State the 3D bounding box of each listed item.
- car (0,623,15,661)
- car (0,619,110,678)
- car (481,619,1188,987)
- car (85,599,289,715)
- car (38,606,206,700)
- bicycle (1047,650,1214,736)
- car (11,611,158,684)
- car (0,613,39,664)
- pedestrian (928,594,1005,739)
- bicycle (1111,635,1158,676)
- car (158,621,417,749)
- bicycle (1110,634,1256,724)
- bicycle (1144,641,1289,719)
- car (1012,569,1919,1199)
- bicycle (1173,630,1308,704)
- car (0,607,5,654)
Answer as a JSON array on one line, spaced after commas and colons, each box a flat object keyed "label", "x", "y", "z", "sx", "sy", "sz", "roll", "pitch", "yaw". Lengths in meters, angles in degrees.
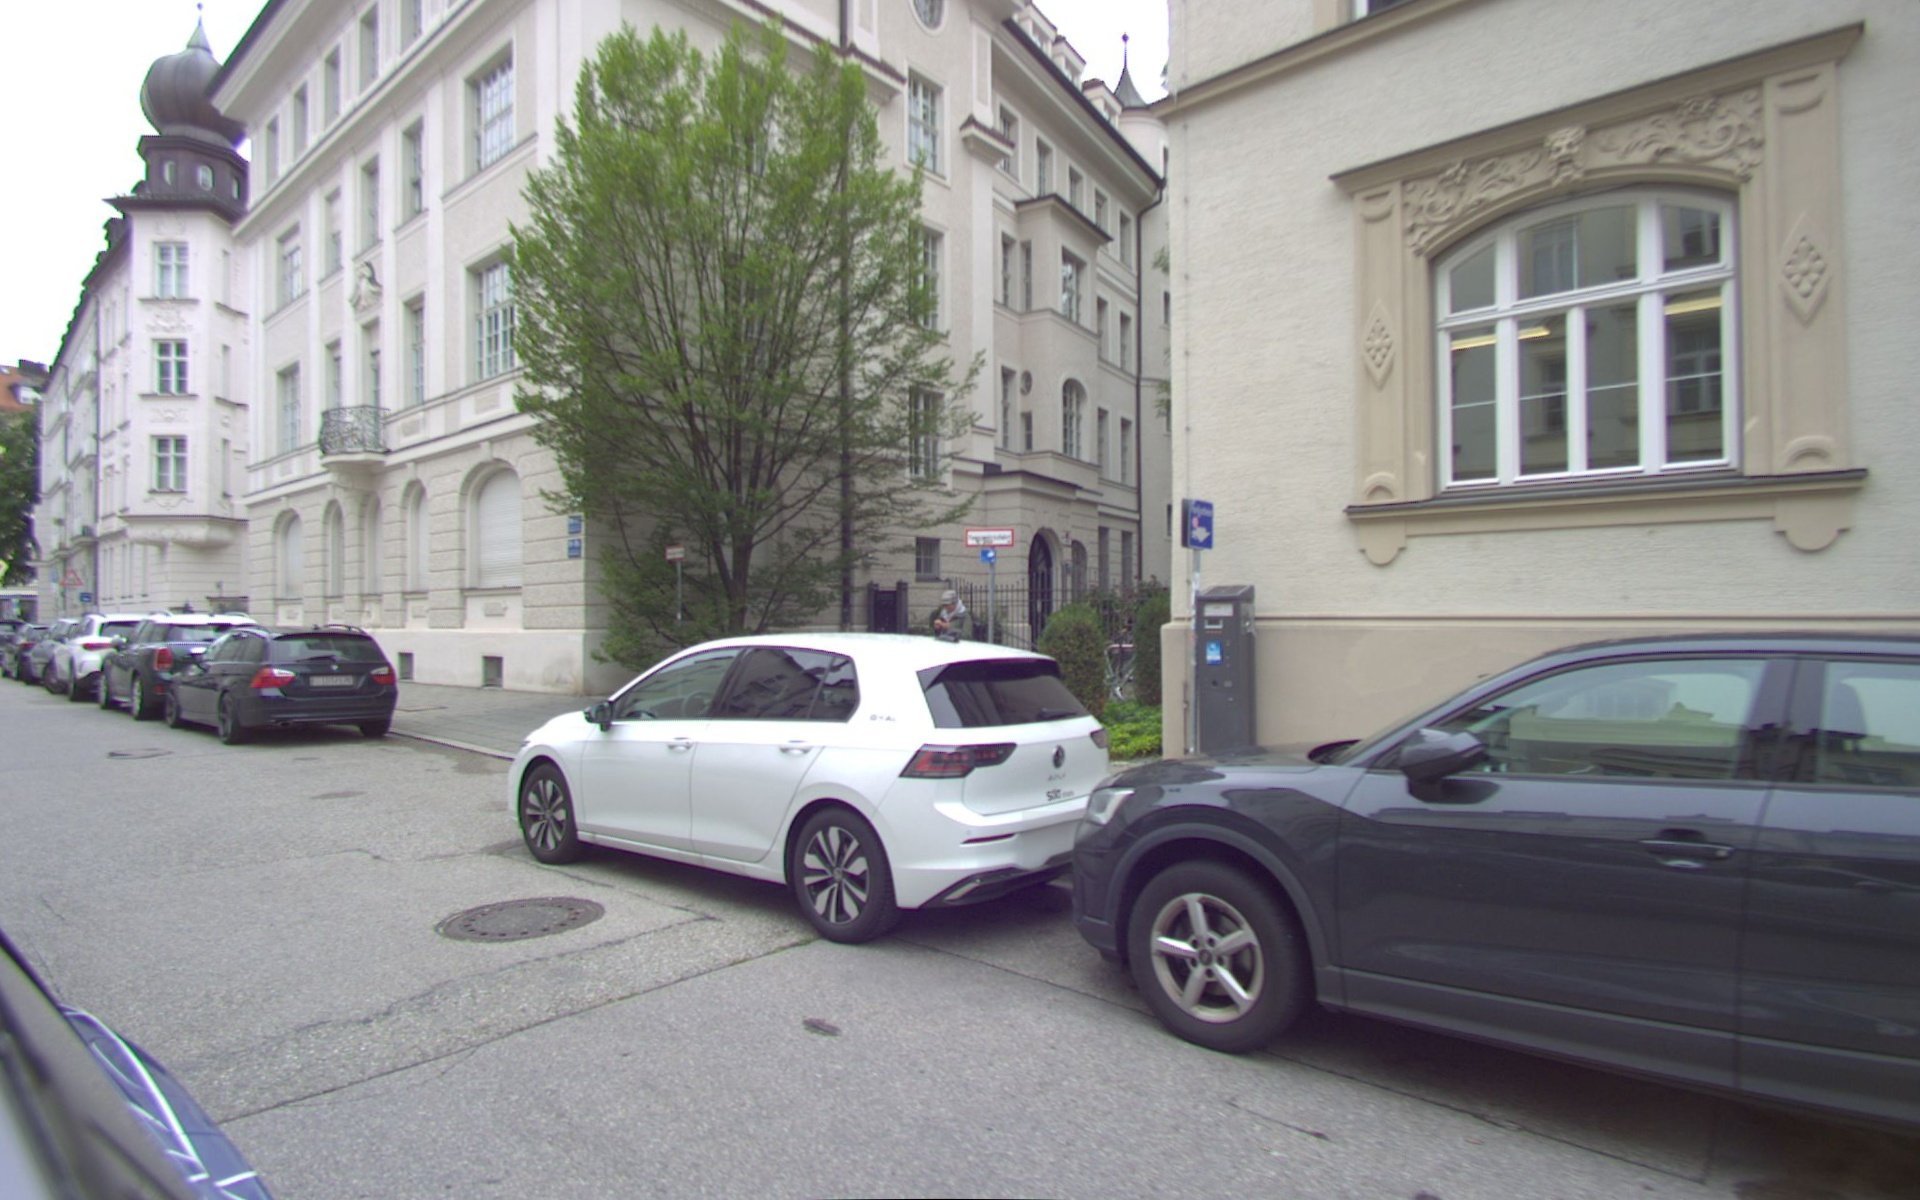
[{"label": "car", "x": -37.213, "y": 1.577, "z": 38.263, "sx": 4.244, "sy": 1.405, "sz": 1.816, "roll": -2, "pitch": -4, "yaw": 43}, {"label": "car", "x": -23.932, "y": 1.269, "z": 26.598, "sx": 4.277, "sy": 1.426, "sz": 1.773, "roll": -1, "pitch": -4, "yaw": 41}, {"label": "car", "x": -0.979, "y": 0.894, "z": 6.085, "sx": 4.241, "sy": 1.445, "sz": 1.818, "roll": -2, "pitch": -4, "yaw": 40}, {"label": "car", "x": -12.566, "y": 0.873, "z": 16.362, "sx": 4.242, "sy": 1.631, "sz": 1.817, "roll": -2, "pitch": -2, "yaw": 41}, {"label": "car", "x": -16.527, "y": 0.991, "z": 19.876, "sx": 4.570, "sy": 1.631, "sz": 1.894, "roll": -2, "pitch": -2, "yaw": 42}, {"label": "bicycle", "x": 2.139, "y": 1.187, "z": 12.907, "sx": 2.009, "sy": 0.967, "sz": 0.686, "roll": -6, "pitch": -2, "yaw": 44}, {"label": "car", "x": -20.390, "y": 1.096, "z": 23.524, "sx": 4.252, "sy": 1.553, "sz": 1.765, "roll": -1, "pitch": -4, "yaw": 38}, {"label": "car", "x": -32.449, "y": 1.276, "z": 33.925, "sx": 4.118, "sy": 1.631, "sz": 1.709, "roll": -1, "pitch": -4, "yaw": 40}, {"label": "pedestrian", "x": 0.079, "y": 0.759, "z": 11.902, "sx": 0.630, "sy": 1.638, "sz": 0.666, "roll": -2, "pitch": -2, "yaw": 38}, {"label": "bicycle", "x": 4.437, "y": 1.393, "z": 25.634, "sx": 0.475, "sy": 1.000, "sz": 1.420, "roll": -2, "pitch": -2, "yaw": 43}, {"label": "car", "x": -9.011, "y": 1.023, "z": 13.417, "sx": 4.365, "sy": 1.423, "sz": 1.768, "roll": -2, "pitch": -2, "yaw": 41}, {"label": "bicycle", "x": 2.990, "y": 1.082, "z": 13.712, "sx": 1.819, "sy": 1.101, "sz": 0.606, "roll": -6, "pitch": -3, "yaw": 44}, {"label": "bicycle", "x": 3.594, "y": 1.119, "z": 14.312, "sx": 1.907, "sy": 1.011, "sz": 0.578, "roll": -4, "pitch": -3, "yaw": 44}, {"label": "car", "x": 2.455, "y": 0.758, "z": 3.336, "sx": 4.381, "sy": 1.530, "sz": 1.752, "roll": -2, "pitch": -5, "yaw": 40}, {"label": "bicycle", "x": 4.099, "y": 0.994, "z": 14.879, "sx": 1.832, "sy": 1.005, "sz": 0.547, "roll": -5, "pitch": -4, "yaw": 44}, {"label": "car", "x": -40.955, "y": 1.250, "z": 41.707, "sx": 4.761, "sy": 1.909, "sz": 1.817, "roll": -2, "pitch": -4, "yaw": 41}]
